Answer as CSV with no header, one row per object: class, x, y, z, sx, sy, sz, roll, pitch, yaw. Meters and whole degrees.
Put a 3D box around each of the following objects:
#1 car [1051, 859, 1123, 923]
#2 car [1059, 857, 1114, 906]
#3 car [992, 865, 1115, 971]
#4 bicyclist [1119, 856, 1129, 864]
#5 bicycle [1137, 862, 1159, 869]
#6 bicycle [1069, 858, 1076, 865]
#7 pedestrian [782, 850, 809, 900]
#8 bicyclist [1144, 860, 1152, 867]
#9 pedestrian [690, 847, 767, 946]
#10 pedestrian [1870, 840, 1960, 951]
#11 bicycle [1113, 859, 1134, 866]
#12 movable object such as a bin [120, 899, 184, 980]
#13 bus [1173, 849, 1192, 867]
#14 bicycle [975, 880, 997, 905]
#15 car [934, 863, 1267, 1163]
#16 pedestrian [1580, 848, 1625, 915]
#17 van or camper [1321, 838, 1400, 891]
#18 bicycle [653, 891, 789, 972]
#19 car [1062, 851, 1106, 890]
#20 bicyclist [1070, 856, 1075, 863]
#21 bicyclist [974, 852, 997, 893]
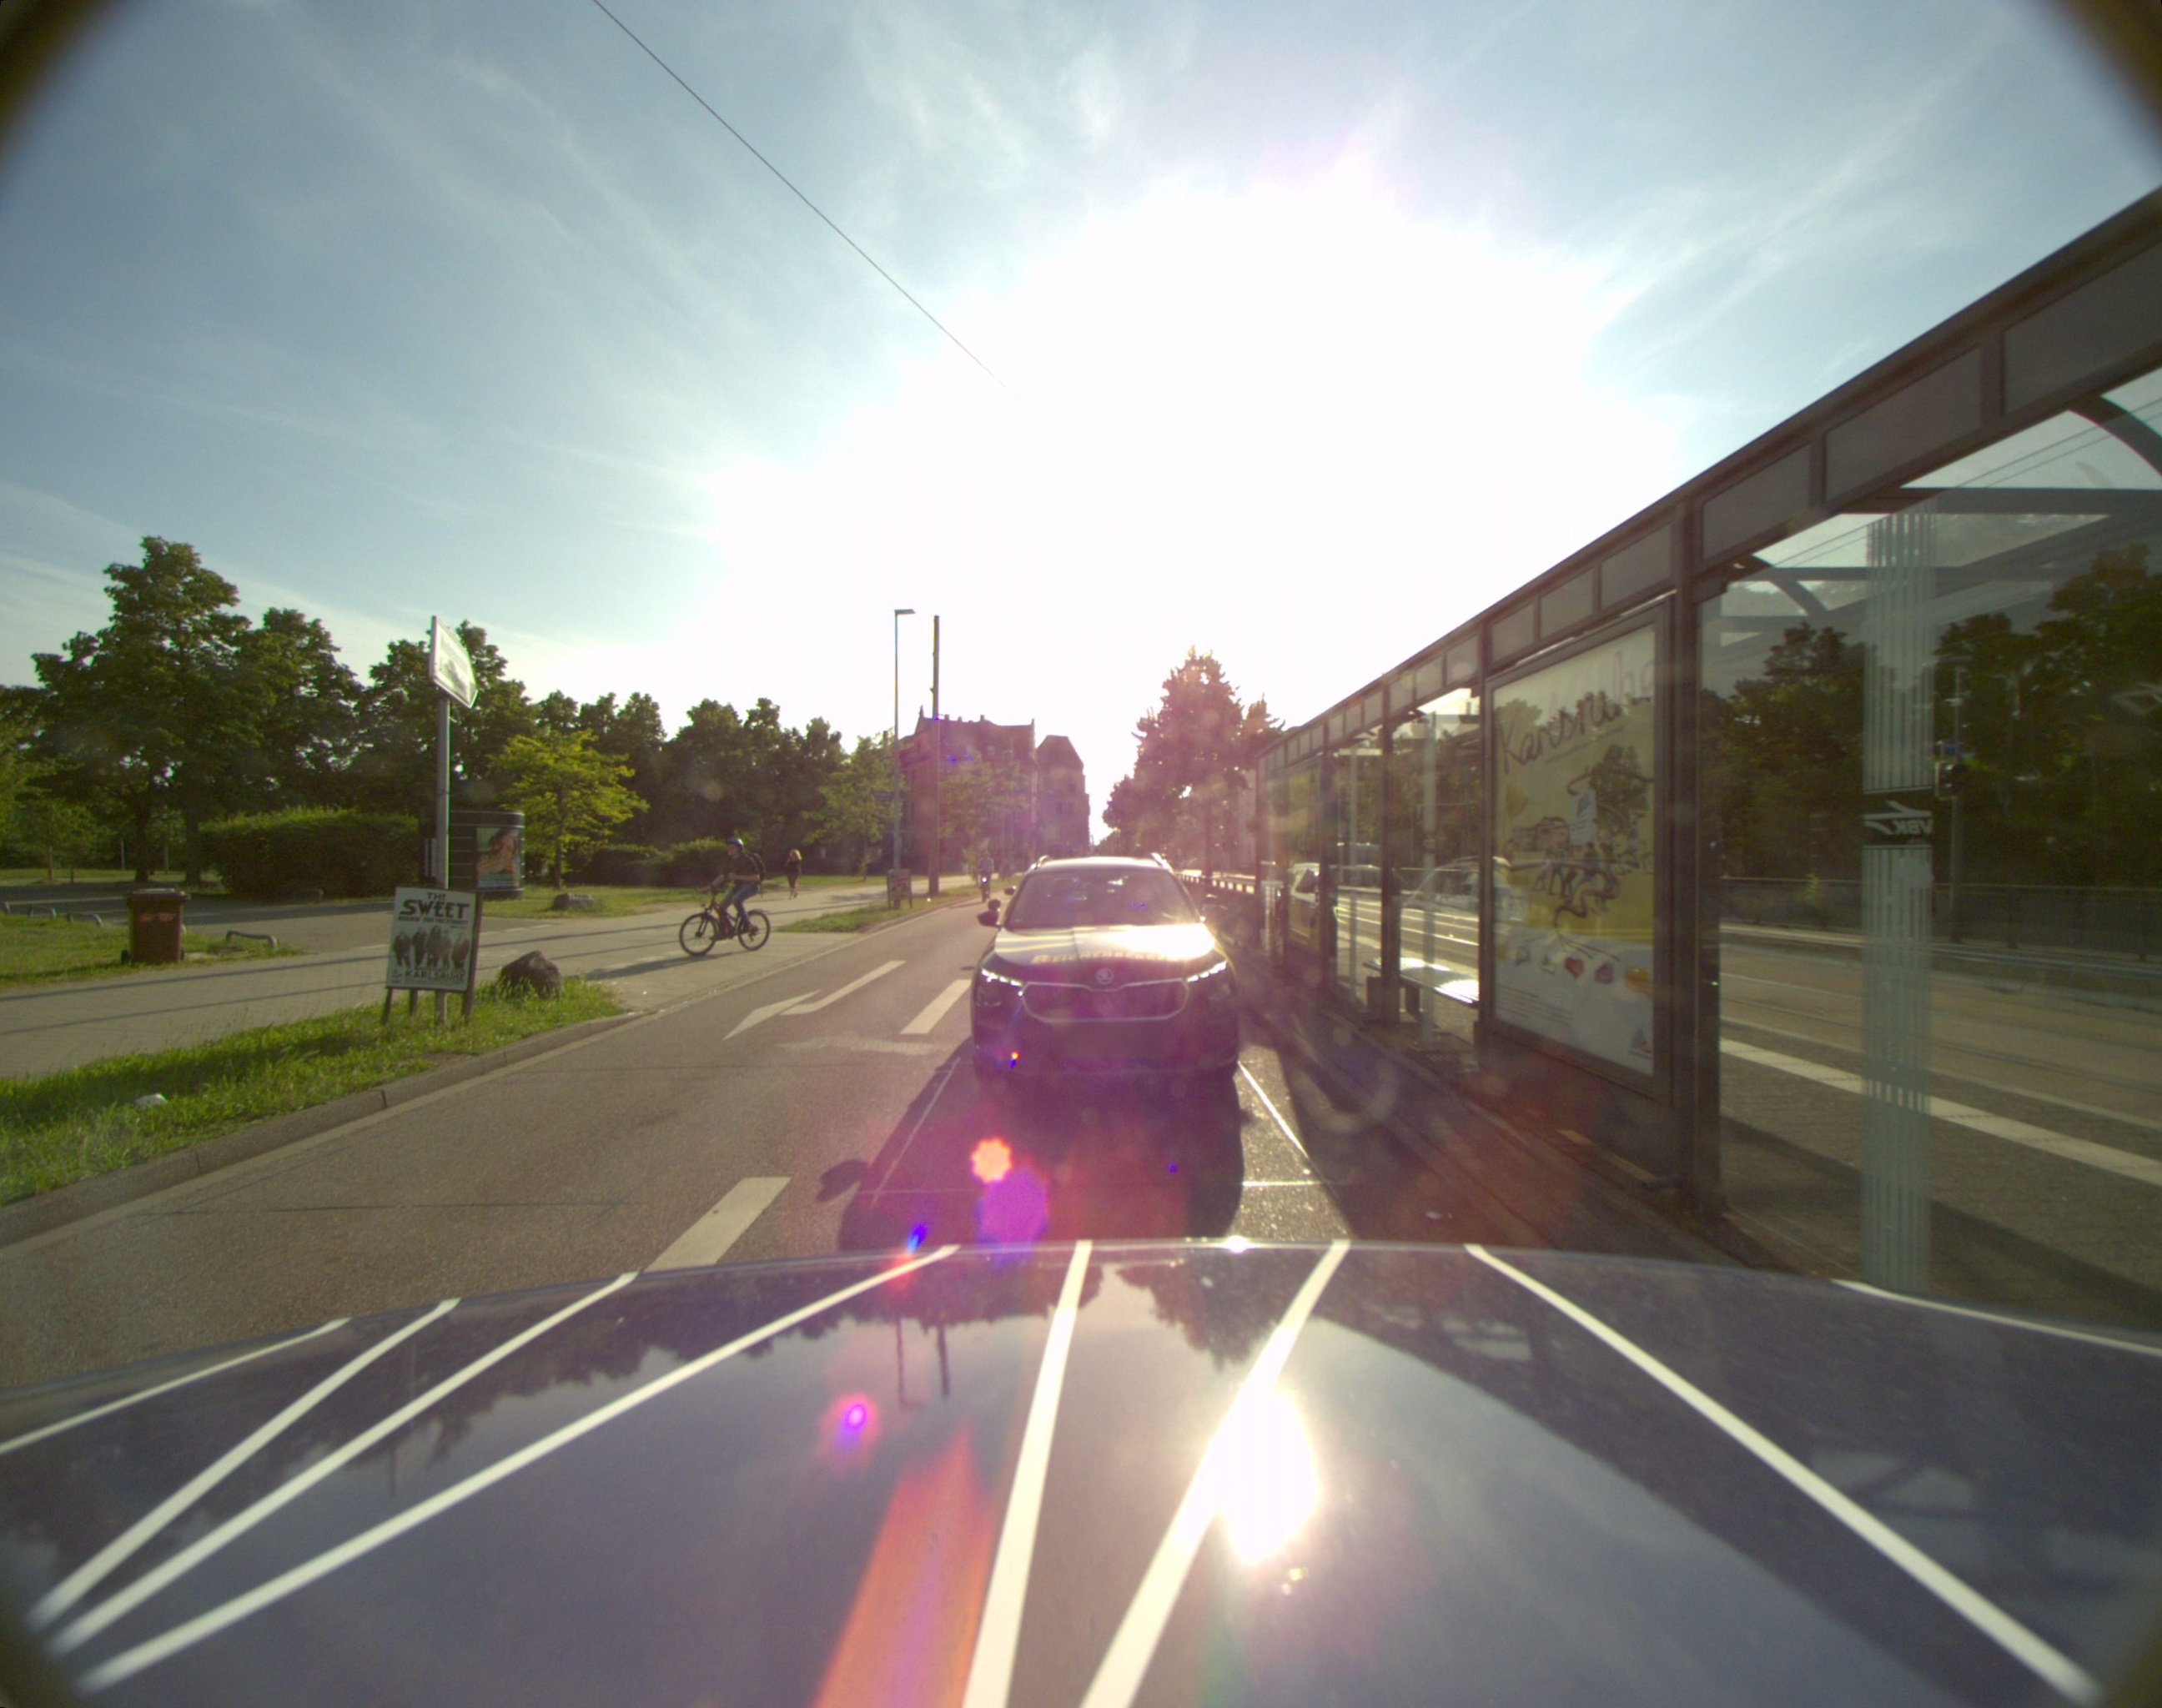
car,0.185,0.930,20.943,1.756,1.534,4.235,-1,0,1
car,0.203,0.910,26.956,1.756,1.534,4.235,-1,0,1
car,-0.367,0.968,13.207,1.756,1.451,4.235,-1,0,1
bicyclist,5.188,0.724,91.932,1.217,1.018,0.671,0,0,4
bicycle,8.270,1.426,93.916,2.539,0.876,0.630,0,0,-8
bicycle,-1.174,1.060,107.320,0.630,0.876,2.538,0,0,-8
pedestrian,-9.719,0.717,25.857,0.621,1.675,0.618,-2,1,1
bicyclist,8.303,1.153,93.913,0.898,0.908,0.616,0,0,-8
pedestrian,-5.620,0.653,12.156,0.636,1.512,0.846,-2,1,22
pedestrian,13.148,0.644,11.993,0.621,1.675,0.618,3,1,1
bicycle,5.143,1.059,91.935,2.536,0.876,0.631,0,0,5
movable object such as a bin,-11.425,1.030,9.357,0.603,0.912,0.457,1,1,42
bus,19.997,0.739,149.962,2.437,3.415,9.261,-2,1,1
bicycle,-3.394,1.358,27.289,0.567,0.789,2.041,0,0,0
car,0.139,0.885,6.213,1.756,1.534,4.235,-1,0,1
pedestrian,13.477,0.698,19.655,0.621,1.675,0.618,3,1,1
van or camper,17.009,0.546,46.761,2.527,2.951,6.411,-2,1,1
bicycle,-5.632,1.183,12.031,0.651,1.040,1.983,-2,1,22
car,0.164,0.682,33.183,1.756,1.534,4.235,-1,0,1
bicyclist,-1.181,0.760,107.308,0.616,0.908,0.897,0,0,-8
bicyclist,-3.407,0.663,27.247,0.689,1.445,1.111,0,0,0
